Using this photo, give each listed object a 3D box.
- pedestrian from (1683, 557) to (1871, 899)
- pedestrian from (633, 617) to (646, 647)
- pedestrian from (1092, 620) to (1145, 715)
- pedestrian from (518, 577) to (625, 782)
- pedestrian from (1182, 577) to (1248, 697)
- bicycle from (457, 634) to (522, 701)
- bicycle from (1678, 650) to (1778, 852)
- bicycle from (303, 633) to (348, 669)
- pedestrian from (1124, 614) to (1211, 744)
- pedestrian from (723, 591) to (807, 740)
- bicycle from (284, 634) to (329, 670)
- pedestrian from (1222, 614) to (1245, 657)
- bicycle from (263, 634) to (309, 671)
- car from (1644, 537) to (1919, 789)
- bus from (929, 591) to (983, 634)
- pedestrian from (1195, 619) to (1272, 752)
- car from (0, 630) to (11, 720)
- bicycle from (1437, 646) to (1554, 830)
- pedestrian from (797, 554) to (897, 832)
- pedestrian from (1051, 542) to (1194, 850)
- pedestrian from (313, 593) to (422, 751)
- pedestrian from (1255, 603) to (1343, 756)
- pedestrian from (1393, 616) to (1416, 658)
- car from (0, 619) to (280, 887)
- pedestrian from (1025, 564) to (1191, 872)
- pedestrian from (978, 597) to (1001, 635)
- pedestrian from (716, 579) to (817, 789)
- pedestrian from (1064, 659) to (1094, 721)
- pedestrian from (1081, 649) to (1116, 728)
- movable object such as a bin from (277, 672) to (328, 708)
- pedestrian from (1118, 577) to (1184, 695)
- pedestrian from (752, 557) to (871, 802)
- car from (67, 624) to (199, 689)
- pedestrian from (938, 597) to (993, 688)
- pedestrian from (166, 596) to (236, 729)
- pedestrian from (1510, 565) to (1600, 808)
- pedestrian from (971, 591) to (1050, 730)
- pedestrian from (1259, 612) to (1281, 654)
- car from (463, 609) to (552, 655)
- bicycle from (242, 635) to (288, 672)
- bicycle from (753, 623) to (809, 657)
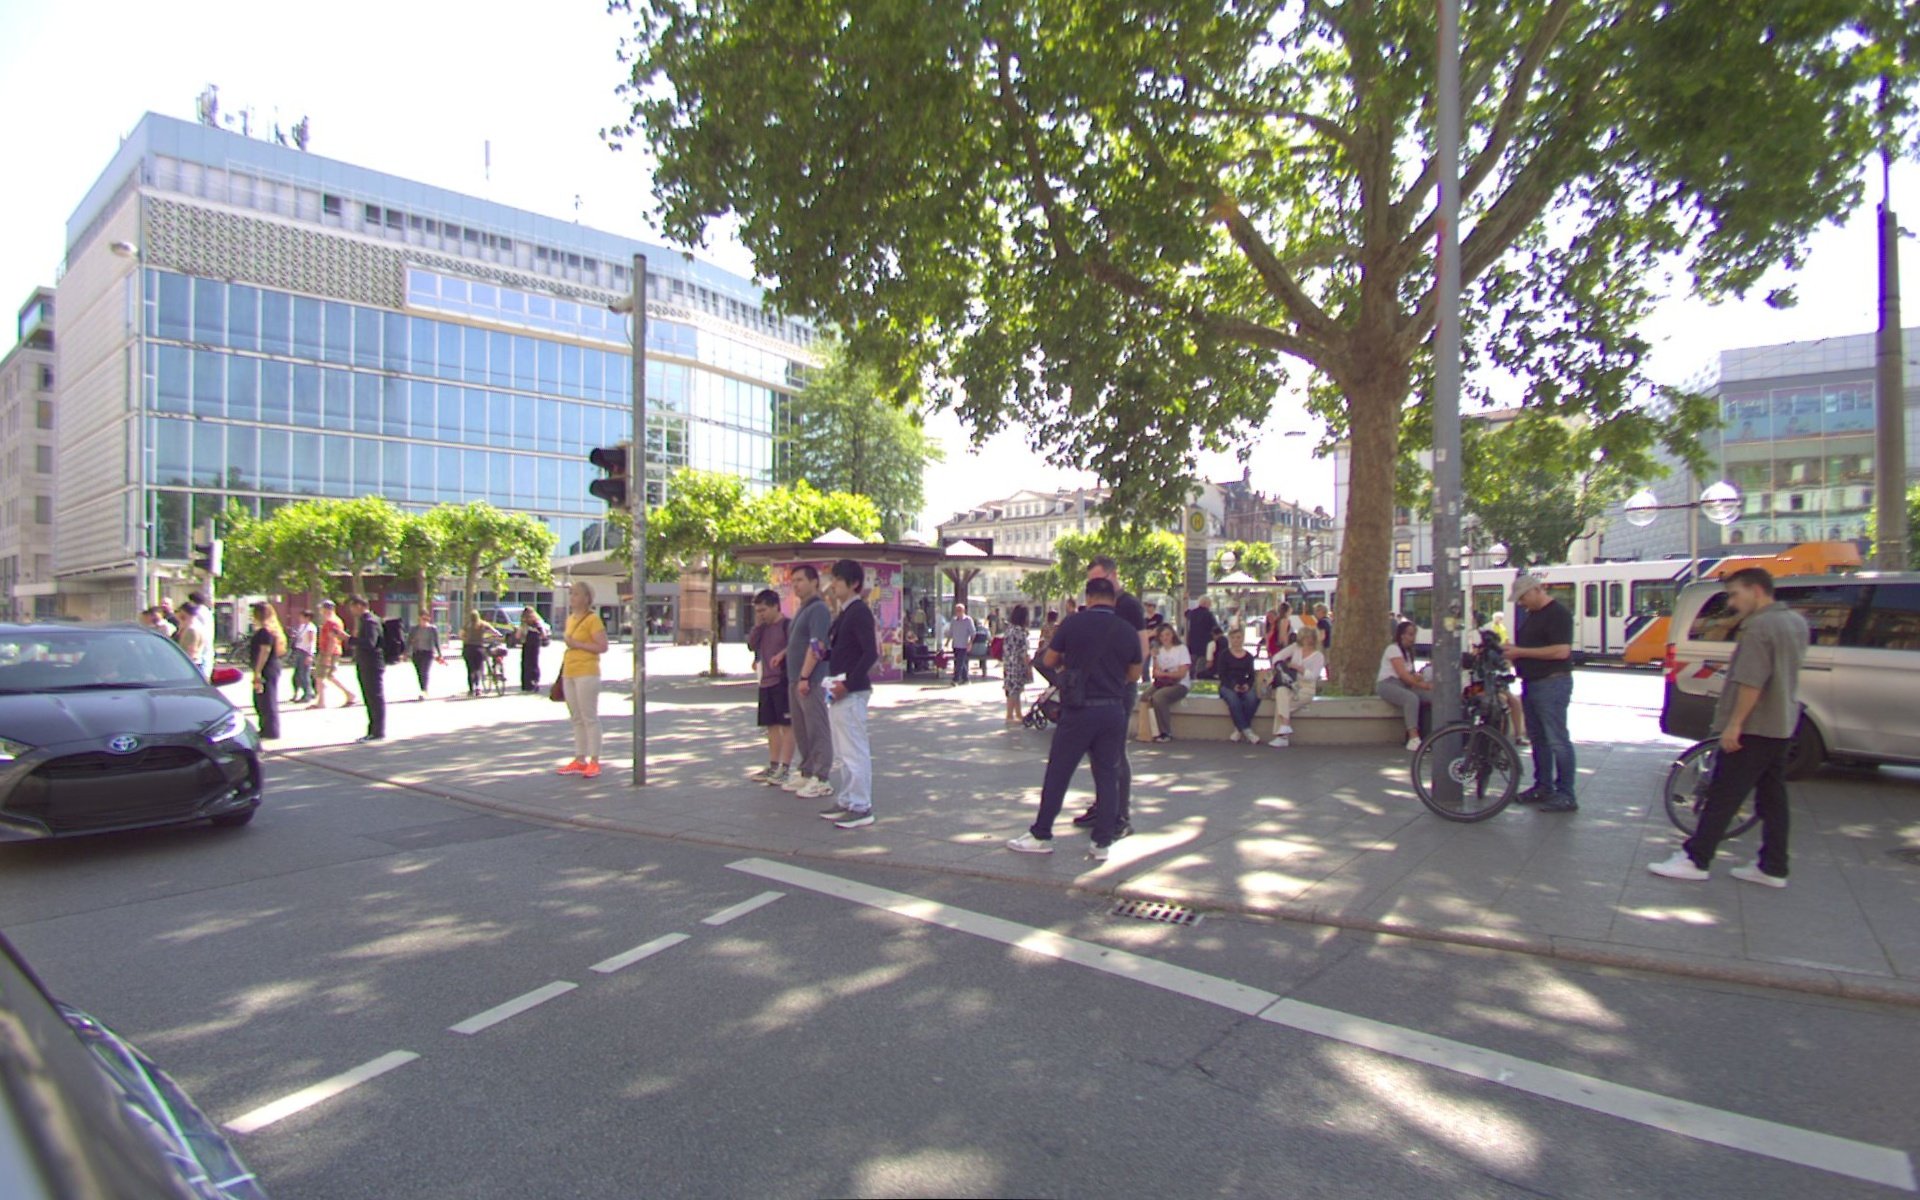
[{"bbox_3d":[4.372,0.635,5.465,0.639,1.704,0.638,-1,0,26],"label":"pedestrian"},{"bbox_3d":[-16.068,1.620,50.764,0.399,1.483,0.460,-1,0,24],"label":"pedestrian"},{"bbox_3d":[2.182,0.919,13.972,0.607,1.251,0.672,-1,0,1],"label":"pedestrian"},{"bbox_3d":[-3.516,0.685,9.156,0.752,1.760,0.605,-1,-1,38],"label":"pedestrian"},{"bbox_3d":[3.866,0.541,15.331,0.779,1.760,0.744,-1,0,30],"label":"pedestrian"},{"bbox_3d":[-8.997,1.255,19.318,0.718,1.152,1.917,-2,1,-37],"label":"bicycle"},{"bbox_3d":[5.301,0.960,6.993,0.482,1.156,1.736,-1,-1,37],"label":"bicycle"},{"bbox_3d":[-21.502,1.715,34.298,1.753,1.156,0.586,-1,-1,32],"label":"bicycle"},{"bbox_3d":[2.401,0.883,11.689,0.779,1.418,0.744,-1,0,30],"label":"pedestrian"},{"bbox_3d":[-2.401,0.778,12.479,0.666,1.760,0.742,-1,0,38],"label":"pedestrian"},{"bbox_3d":[-21.776,1.729,33.733,1.753,1.156,0.586,-1,-1,32],"label":"bicycle"},{"bbox_3d":[9.707,1.239,35.910,0.547,1.483,0.532,-2,1,-43],"label":"pedestrian"},{"bbox_3d":[-22.107,1.703,33.177,1.753,1.156,0.586,-1,-1,32],"label":"bicycle"},{"bbox_3d":[8.805,0.480,8.163,1.966,2.029,5.083,-2,1,-29],"label":"car"},{"bbox_3d":[-0.174,0.796,74.616,2.362,2.811,12.157,-1,1,7],"label":"bus"},{"bbox_3d":[3.134,0.946,11.581,0.671,1.435,0.744,-1,0,30],"label":"pedestrian"},{"bbox_3d":[-17.191,1.187,16.782,3.998,1.415,1.677,-1,-3,41],"label":"car"},{"bbox_3d":[4.030,0.952,7.559,0.482,1.156,1.736,-1,-1,37],"label":"bicycle"},{"bbox_3d":[-0.792,0.599,6.974,0.529,1.796,0.745,-1,0,-16],"label":"pedestrian"},{"bbox_3d":[1.040,0.576,6.520,0.510,1.849,0.716,-2,0,-43],"label":"pedestrian"},{"bbox_3d":[-6.970,0.813,11.917,0.732,1.760,0.866,-1,0,38],"label":"pedestrian"},{"bbox_3d":[3.765,0.847,11.214,0.779,1.608,0.744,-1,0,30],"label":"pedestrian"},{"bbox_3d":[16.063,1.316,36.590,0.555,1.483,0.748,-1,1,39],"label":"pedestrian"},{"bbox_3d":[-6.588,0.889,7.293,3.997,1.486,1.759,-1,-2,40],"label":"car"},{"bbox_3d":[0.854,0.637,5.951,0.620,1.661,0.754,-1,0,-24],"label":"pedestrian"},{"bbox_3d":[1.411,0.760,48.101,0.779,1.760,0.744,-1,0,30],"label":"pedestrian"},{"bbox_3d":[-1.671,0.698,8.756,0.606,1.728,0.597,-1,-2,38],"label":"pedestrian"},{"bbox_3d":[1.619,1.217,13.764,0.320,0.821,0.267,-1,0,27],"label":"pedestrian"},{"bbox_3d":[1.783,1.129,13.004,0.334,0.974,0.282,-1,0,-20],"label":"pedestrian"},{"bbox_3d":[-12.216,1.665,18.816,0.528,0.584,0.654,-1,1,38],"label":"movable object such as a bin"},{"bbox_3d":[2.980,0.540,15.740,0.779,1.760,0.744,-1,0,30],"label":"pedestrian"},{"bbox_3d":[-1.198,0.616,8.165,0.737,1.860,0.587,-1,-2,38],"label":"pedestrian"},{"bbox_3d":[-29.689,1.975,36.522,1.967,2.029,4.009,-1,1,-10],"label":"car"},{"bbox_3d":[0.110,0.840,20.268,0.782,1.760,0.742,-1,0,38],"label":"pedestrian"},{"bbox_3d":[-11.391,0.914,15.189,0.732,1.928,0.631,-1,0,38],"label":"pedestrian"},{"bbox_3d":[4.482,0.622,7.647,0.516,1.755,0.511,-1,0,26],"label":"pedestrian"},{"bbox_3d":[0.661,0.769,13.430,0.739,1.760,0.785,-1,0,-24],"label":"pedestrian"},{"bbox_3d":[11.311,1.191,36.945,0.547,1.483,0.532,-2,1,-43],"label":"pedestrian"},{"bbox_3d":[-21.262,1.468,47.537,3.988,2.029,1.978,-1,1,33],"label":"car"},{"bbox_3d":[-22.420,1.705,32.641,1.753,1.156,0.586,-1,-1,32],"label":"bicycle"},{"bbox_3d":[-7.177,1.583,40.766,0.732,1.254,2.327,-1,1,38],"label":"bicycle"}]
